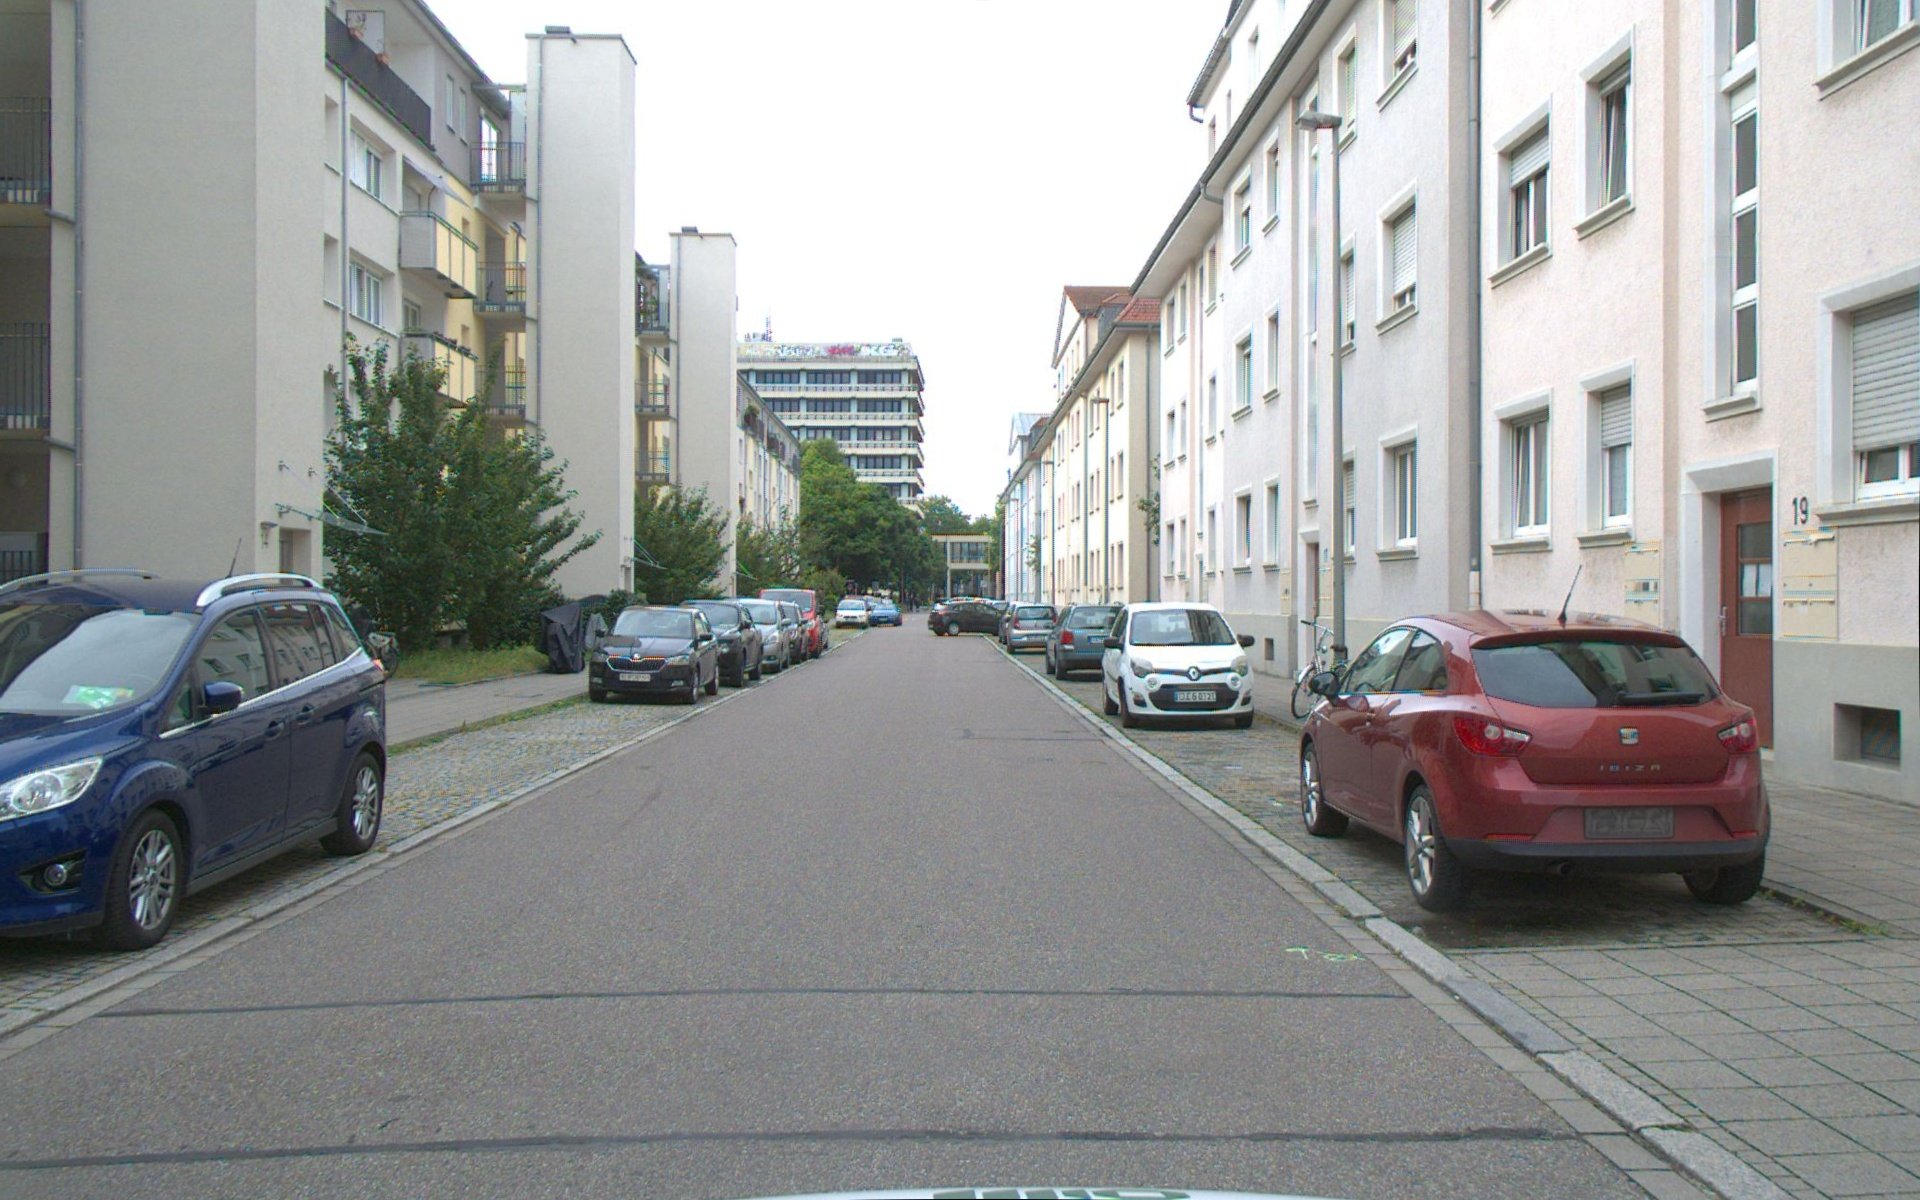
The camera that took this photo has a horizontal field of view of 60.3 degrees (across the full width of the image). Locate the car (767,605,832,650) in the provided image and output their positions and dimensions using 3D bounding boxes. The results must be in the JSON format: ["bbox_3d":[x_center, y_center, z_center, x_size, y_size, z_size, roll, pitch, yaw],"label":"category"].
[{"bbox_3d":[-5.280,0.882,54.776,1.832,1.347,4.360,2,0,-2],"label":"car"}]

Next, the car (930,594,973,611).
[{"bbox_3d":[-0.863,0.255,165.375,4.115,1.681,1.893,0,0,-8],"label":"car"}]

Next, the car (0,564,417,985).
[{"bbox_3d":[-4.473,0.666,8.735,1.763,1.655,4.471,1,0,-1],"label":"car"}]

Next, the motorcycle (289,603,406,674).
[{"bbox_3d":[-10.221,0.638,27.639,1.715,1.149,0.593,-1,0,-5],"label":"motorcycle"}]

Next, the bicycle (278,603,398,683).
[{"bbox_3d":[-9.907,0.680,26.383,1.689,1.246,0.608,0,0,-6],"label":"bicycle"}]

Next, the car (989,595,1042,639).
[{"bbox_3d":[1.994,0.612,60.494,1.690,1.544,4.060,0,0,-1],"label":"car"}]

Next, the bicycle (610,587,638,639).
[{"bbox_3d":[-8.055,0.314,39.714,0.541,1.213,1.725,-1,0,-8],"label":"bicycle"}]

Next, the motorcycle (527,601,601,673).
[{"bbox_3d":[-7.731,0.701,32.417,0.851,1.329,2.419,1,0,-1],"label":"motorcycle"}]

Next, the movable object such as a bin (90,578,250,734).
[{"bbox_3d":[-8.105,0.557,17.038,0.981,1.527,1.314,1,0,-1],"label":"movable object such as a bin"}]

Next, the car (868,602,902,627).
[{"bbox_3d":[-4.534,0.846,100.744,1.807,1.476,4.501,1,0,0],"label":"car"}]

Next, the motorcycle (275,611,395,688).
[{"bbox_3d":[-9.682,0.758,25.663,1.583,1.149,0.690,-1,0,-5],"label":"motorcycle"}]

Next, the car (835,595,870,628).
[{"bbox_3d":[-6.171,0.648,95.337,1.917,1.801,4.359,1,0,-3],"label":"car"}]

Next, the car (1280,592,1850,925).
[{"bbox_3d":[3.110,0.706,9.415,1.718,1.434,3.935,-2,0,-1],"label":"car"}]

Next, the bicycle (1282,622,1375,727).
[{"bbox_3d":[4.401,0.867,19.896,0.593,1.160,2.124,0,0,-1],"label":"bicycle"}]

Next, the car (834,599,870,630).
[{"bbox_3d":[-5.806,0.753,89.507,1.686,1.597,3.869,2,0,-1],"label":"car"}]

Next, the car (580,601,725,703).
[{"bbox_3d":[-4.858,0.776,26.606,1.610,1.463,3.856,2,0,-1],"label":"car"}]

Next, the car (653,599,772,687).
[{"bbox_3d":[-4.766,0.788,32.357,1.619,1.557,3.895,2,0,1],"label":"car"}]

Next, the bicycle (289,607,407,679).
[{"bbox_3d":[-9.983,0.697,27.016,1.689,1.162,0.608,0,0,-6],"label":"bicycle"}]

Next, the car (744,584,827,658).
[{"bbox_3d":[-5.081,0.581,48.722,2.108,1.988,4.918,2,0,-3],"label":"car"}]

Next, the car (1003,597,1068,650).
[{"bbox_3d":[2.236,0.675,49.976,1.690,1.518,4.060,0,0,-1],"label":"car"}]

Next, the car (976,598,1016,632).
[{"bbox_3d":[1.662,0.663,77.738,1.690,1.544,4.060,0,0,-1],"label":"car"}]

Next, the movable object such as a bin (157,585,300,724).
[{"bbox_3d":[-8.102,0.590,18.378,0.981,1.472,1.314,1,0,-1],"label":"movable object such as a bin"}]

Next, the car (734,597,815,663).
[{"bbox_3d":[-4.822,0.760,43.479,1.686,1.597,4.053,2,0,-1],"label":"car"}]

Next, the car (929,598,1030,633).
[{"bbox_3d":[0.808,0.662,70.614,4.136,1.458,1.907,0,0,-5],"label":"car"}]

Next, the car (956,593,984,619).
[{"bbox_3d":[0.635,0.372,106.007,1.783,1.671,4.091,0,0,0],"label":"car"}]

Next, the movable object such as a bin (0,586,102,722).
[{"bbox_3d":[-10.531,0.587,18.658,0.981,1.472,1.314,1,0,-1],"label":"movable object such as a bin"}]

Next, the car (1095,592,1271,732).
[{"bbox_3d":[2.759,0.719,21.210,1.747,1.627,3.804,0,0,0],"label":"car"}]

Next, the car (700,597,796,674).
[{"bbox_3d":[-4.837,0.773,38.321,1.798,1.597,4.858,2,0,-3],"label":"car"}]

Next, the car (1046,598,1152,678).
[{"bbox_3d":[2.729,0.709,33.351,1.690,1.495,4.263,0,0,-1],"label":"car"}]

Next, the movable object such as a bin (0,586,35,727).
[{"bbox_3d":[-10.509,0.582,17.232,0.981,1.472,1.314,1,0,-1],"label":"movable object such as a bin"}]
